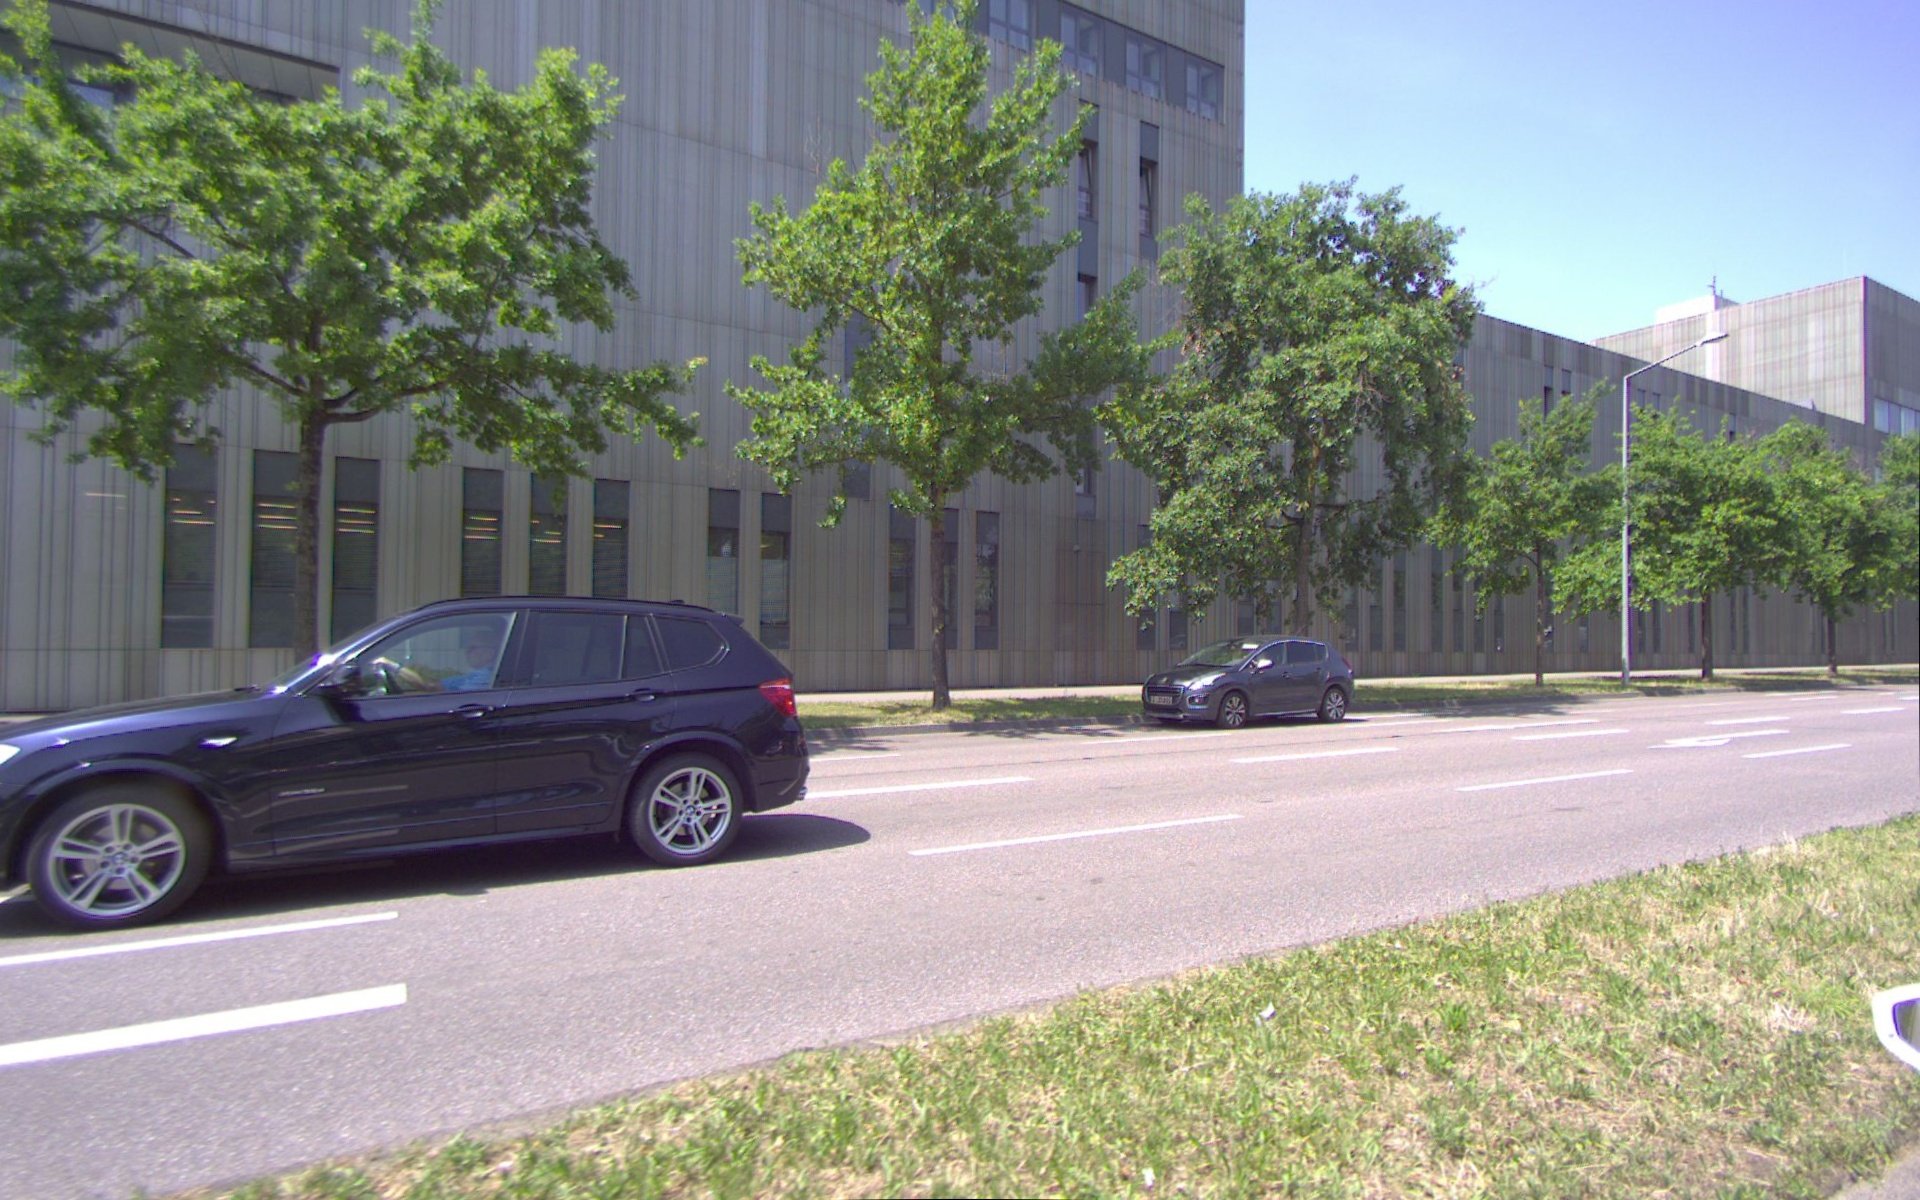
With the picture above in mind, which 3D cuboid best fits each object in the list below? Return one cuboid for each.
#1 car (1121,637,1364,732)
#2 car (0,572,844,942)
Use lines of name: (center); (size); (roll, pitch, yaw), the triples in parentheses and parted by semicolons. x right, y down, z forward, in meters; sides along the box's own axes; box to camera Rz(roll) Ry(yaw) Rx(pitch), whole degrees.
car: (5.214, 1.475, 18.400); (4.319, 1.563, 1.802); (1, -3, -30)
car: (-3.158, 0.791, 6.270); (4.515, 1.685, 1.796); (1, -3, -28)
